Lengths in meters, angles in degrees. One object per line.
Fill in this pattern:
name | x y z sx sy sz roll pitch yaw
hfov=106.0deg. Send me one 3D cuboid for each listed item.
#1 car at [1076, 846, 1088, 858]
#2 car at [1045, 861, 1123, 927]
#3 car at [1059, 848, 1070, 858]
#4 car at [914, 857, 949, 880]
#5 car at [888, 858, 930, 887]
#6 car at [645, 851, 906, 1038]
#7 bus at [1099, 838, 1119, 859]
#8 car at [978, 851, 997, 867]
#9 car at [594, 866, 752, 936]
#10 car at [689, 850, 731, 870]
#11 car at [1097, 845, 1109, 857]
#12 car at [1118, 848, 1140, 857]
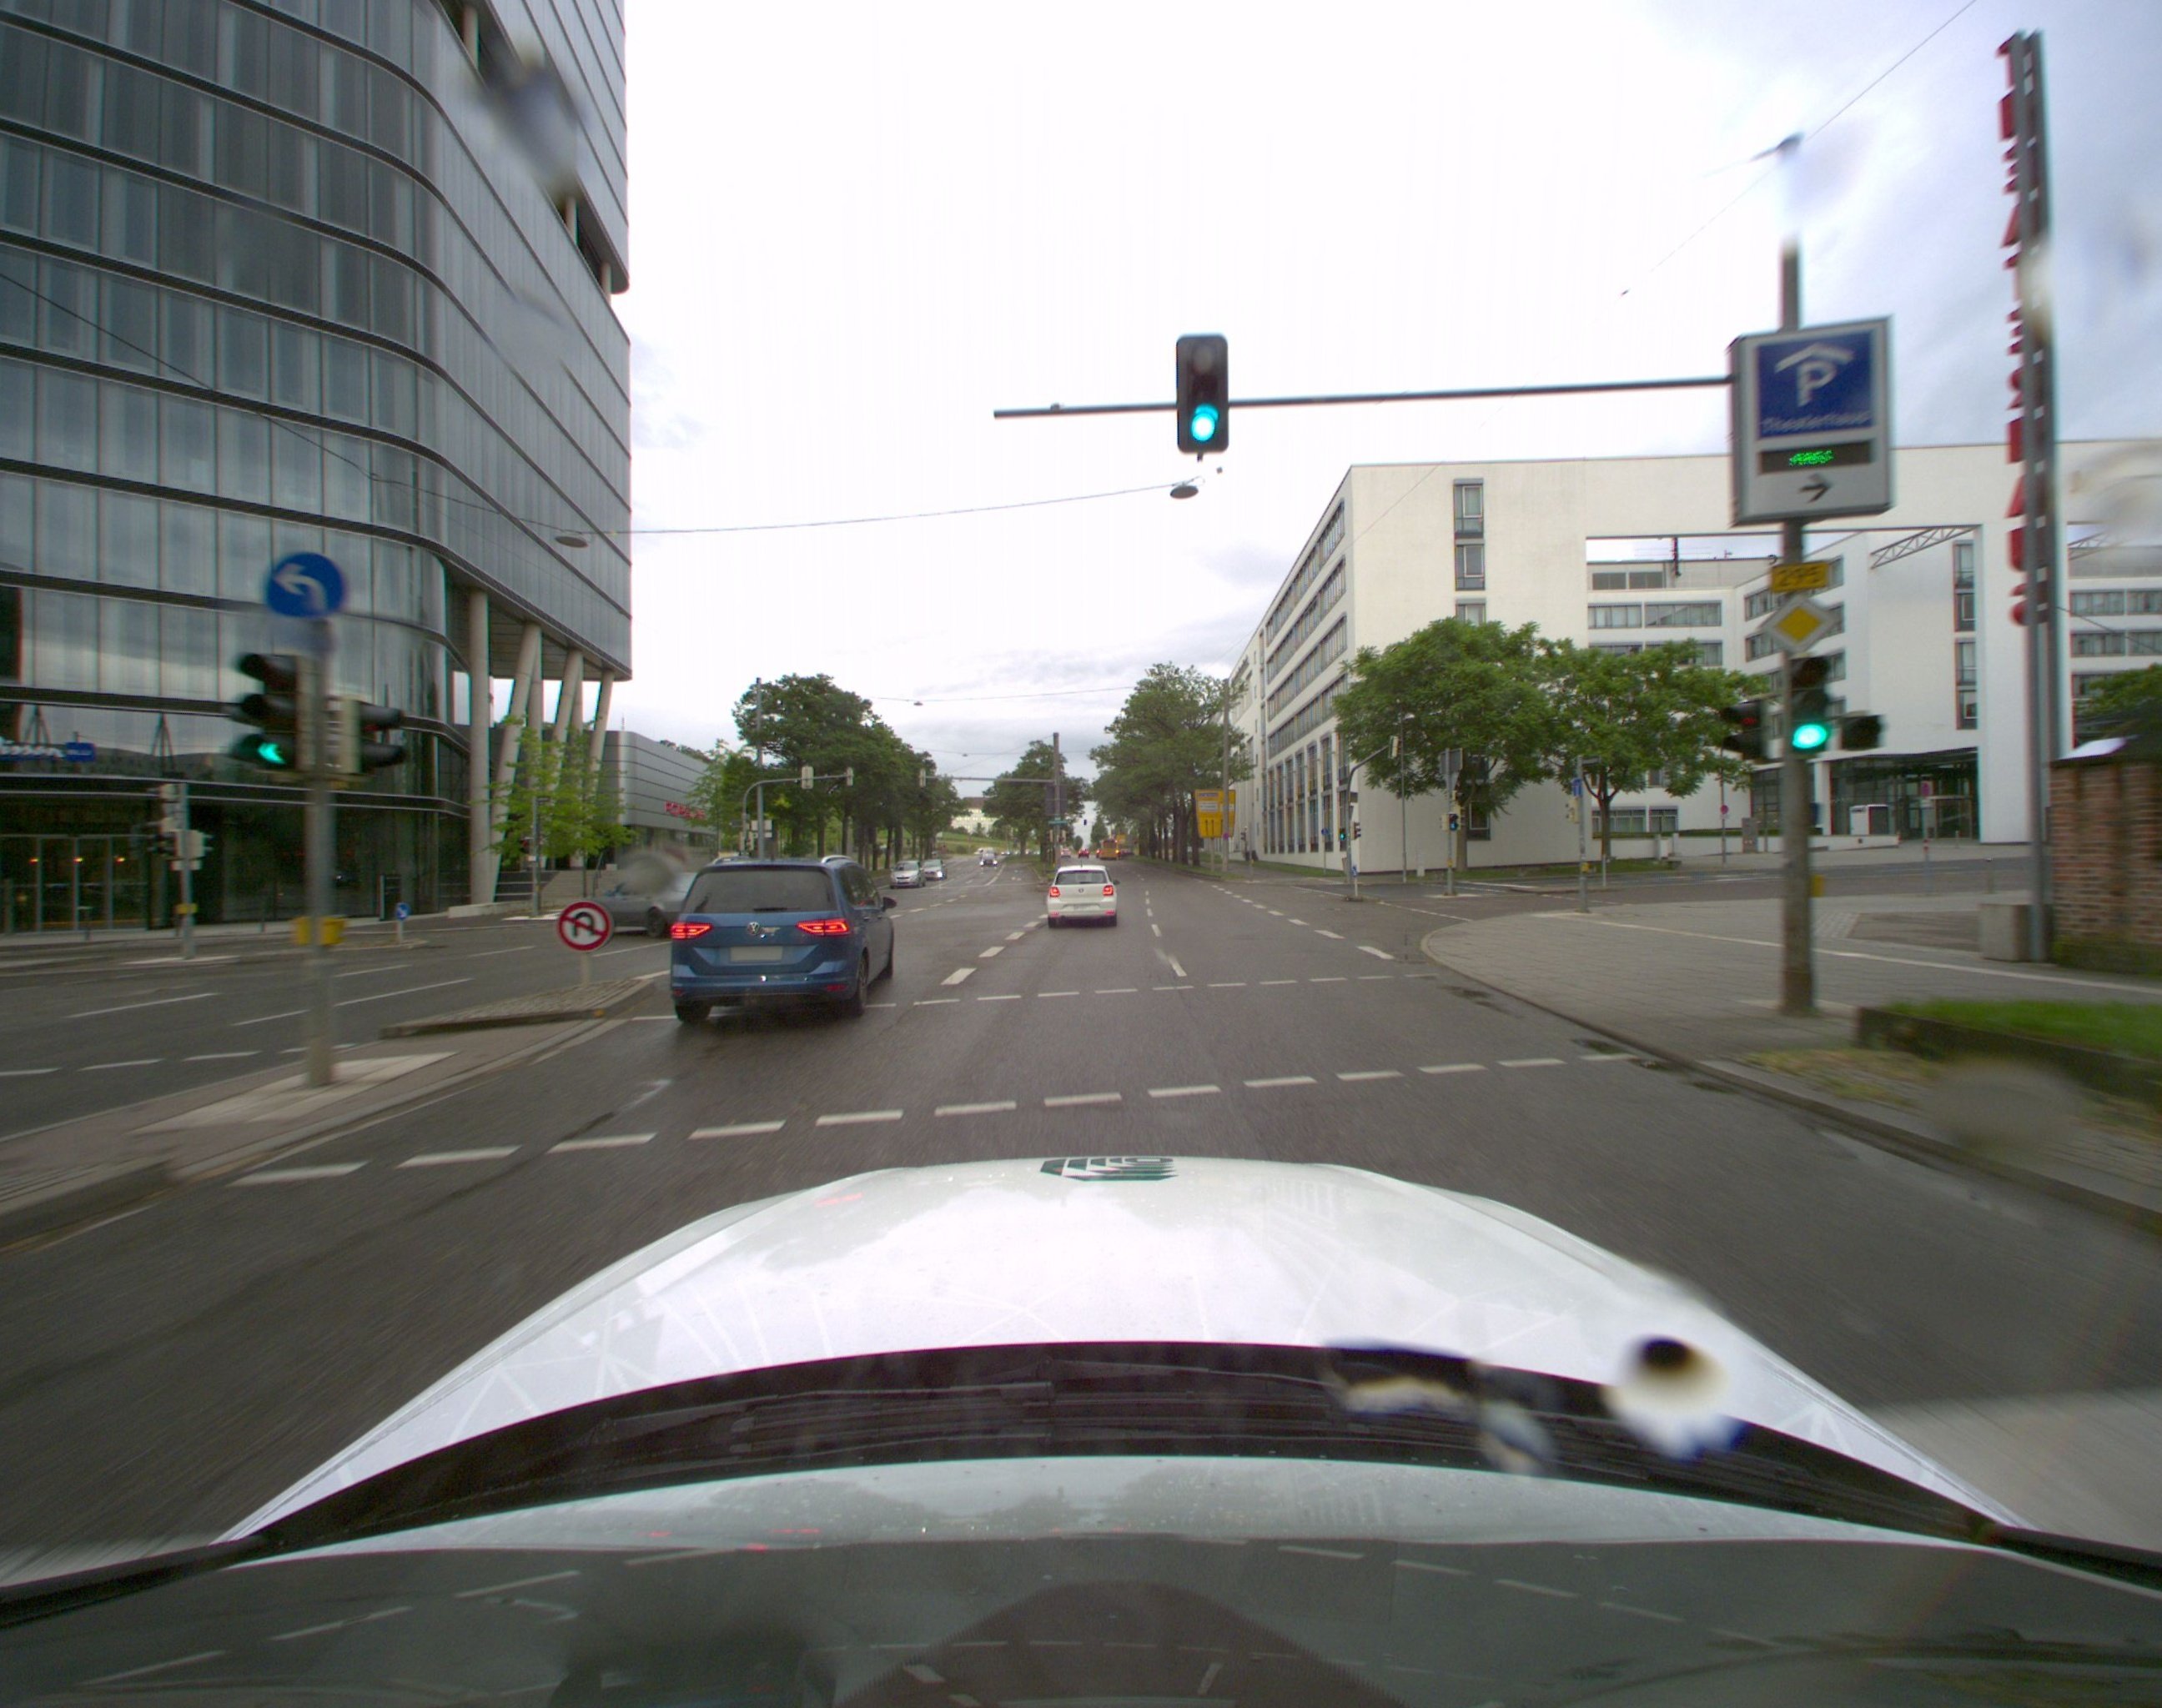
car | 0.203 -0.377 139.462 1.987 2.014 3.998 -1 -1 -1
car | 0.096 0.933 20.685 1.788 1.502 4.000 0 -1 1
car | -2.879 -0.163 141.037 1.789 1.741 3.998 -2 0 -1
car | -10.588 1.015 57.846 1.810 1.411 4.650 -2 0 -3
car | -9.905 1.040 47.145 1.746 1.520 3.812 -2 0 -3
car | -3.158 0.815 9.347 1.770 1.596 4.188 -2 -1 -6
bus | 4.304 -0.867 127.173 2.819 3.266 9.997 0 1 0
car | -11.007 0.569 96.424 1.990 1.615 5.113 -3 1 -4
car | -10.021 1.111 19.912 3.995 1.510 1.865 -2 -1 37
car | -40.965 0.666 89.945 4.001 2.013 1.987 -2 1 -20
car | 3.744 -0.443 140.362 1.987 2.014 3.998 -1 -1 -1
car | 8.192 -0.260 139.145 1.679 1.515 3.850 -2 -1 44
